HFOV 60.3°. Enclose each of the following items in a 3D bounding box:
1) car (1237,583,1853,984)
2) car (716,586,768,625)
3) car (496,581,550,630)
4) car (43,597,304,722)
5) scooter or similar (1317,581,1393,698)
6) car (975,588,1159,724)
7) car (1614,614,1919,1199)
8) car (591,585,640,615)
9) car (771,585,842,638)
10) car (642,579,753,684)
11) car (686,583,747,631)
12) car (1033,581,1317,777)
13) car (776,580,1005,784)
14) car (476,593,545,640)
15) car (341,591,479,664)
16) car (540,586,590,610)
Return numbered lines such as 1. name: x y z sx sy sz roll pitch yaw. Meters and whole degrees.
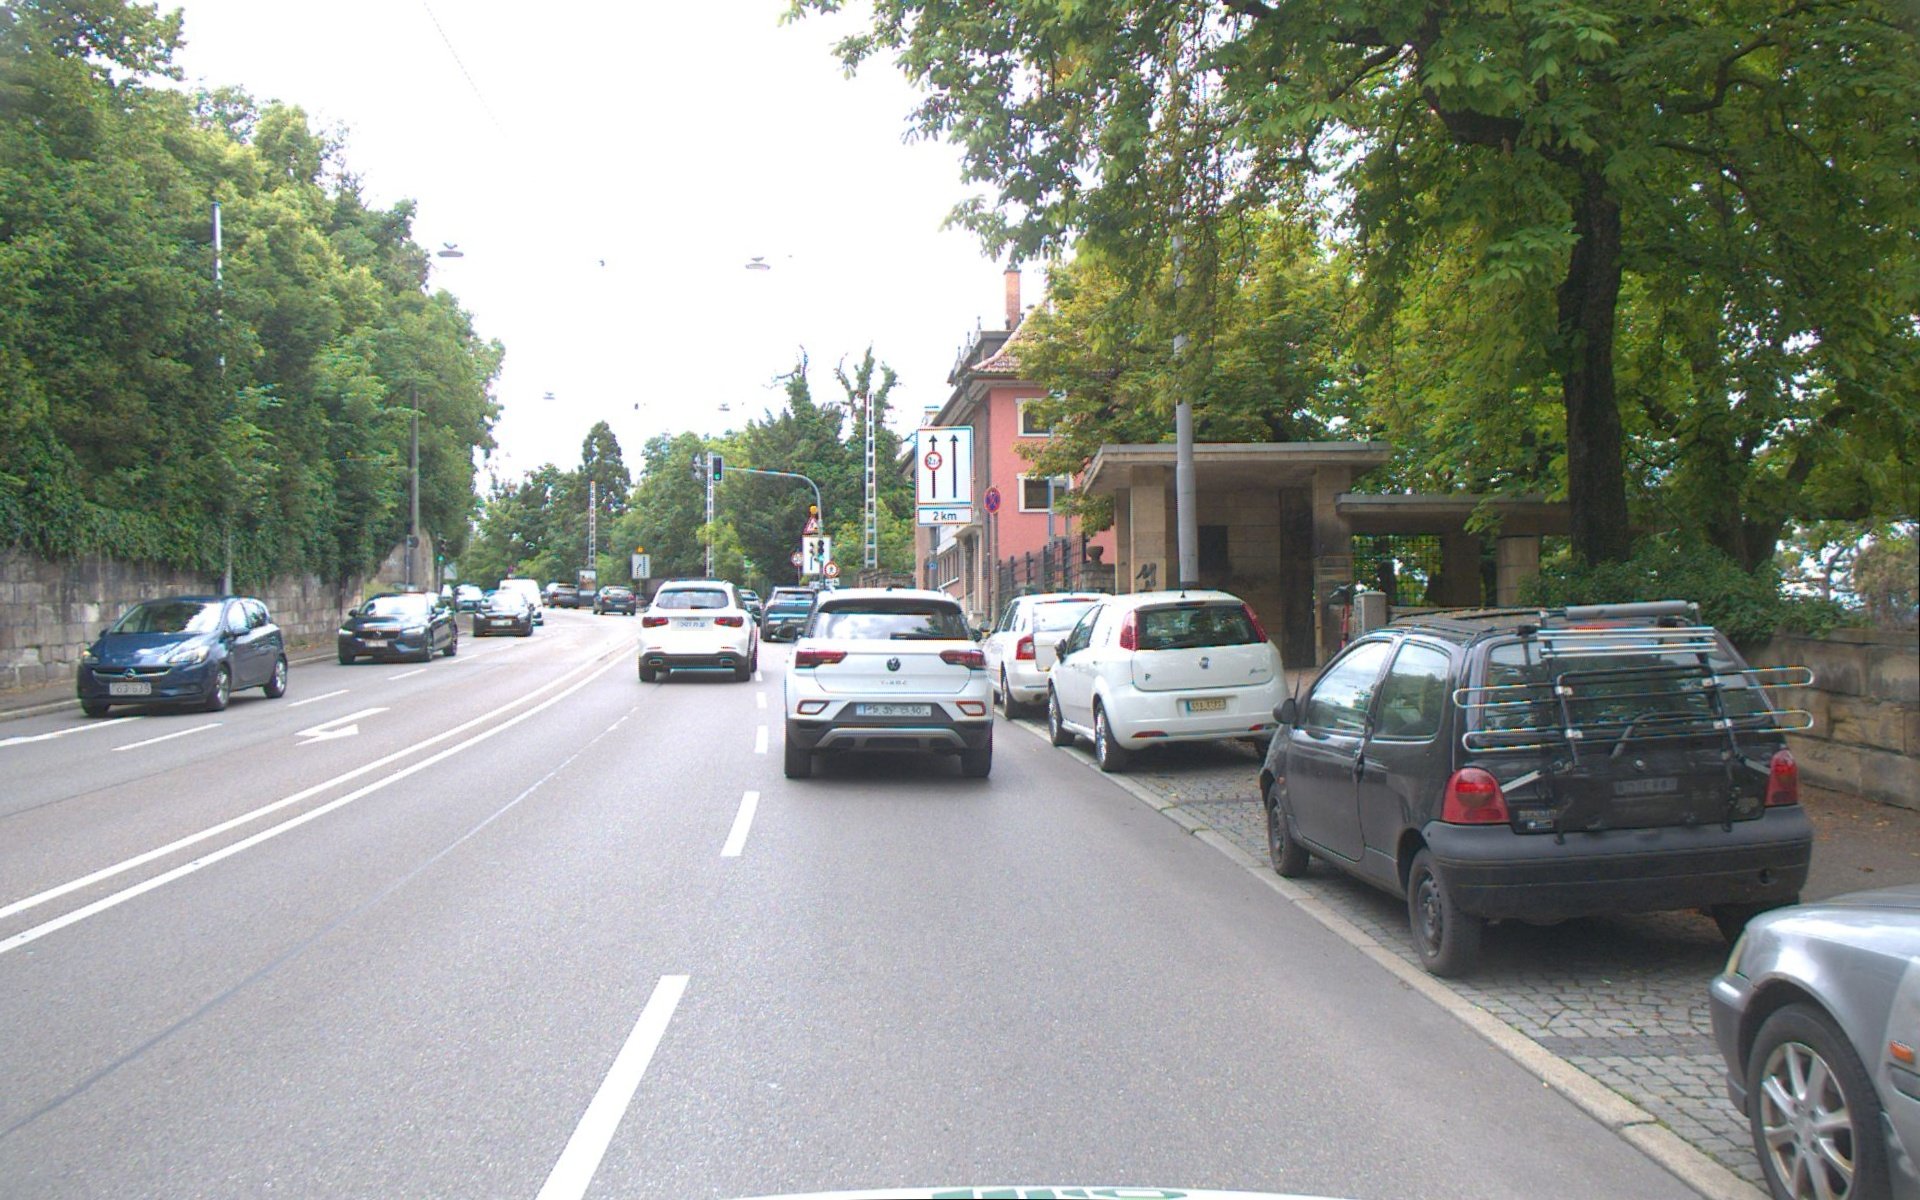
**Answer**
1. car: 2.555 0.704 8.089 1.531 1.447 3.421 -3 0 -4
2. car: -8.679 0.234 66.169 1.955 1.475 4.145 0 -1 -6
3. car: -17.599 0.255 66.762 1.859 1.881 4.383 0 -2 -12
4. car: -10.338 0.717 22.083 1.806 1.461 3.996 -1 0 -5
5. scooter or similar: 4.559 0.439 19.137 0.506 1.282 1.168 -3 0 -2
6. car: 1.251 0.629 21.089 1.643 1.486 4.361 -2 0 -5
7. car: 2.891 0.740 2.607 1.734 1.423 4.549 -2 0 -2
8. car: -17.744 0.006 85.125 1.756 1.480 3.972 1 0 -23
9. car: -4.389 0.348 47.812 1.954 1.439 4.147 -1 -1 -4
10. car: -4.463 0.527 28.480 1.724 1.638 3.789 1 -1 -7
11. car: -8.563 0.221 58.469 1.955 1.583 4.145 1 0 -6
12. car: 1.874 0.626 15.662 1.682 1.497 4.033 -4 1 -6
13. car: -0.749 0.670 14.963 1.724 1.583 3.789 1 -1 -7
14. car: -14.477 0.510 53.466 1.532 1.426 4.247 -2 0 -7
15. car: -11.773 0.555 35.677 1.807 1.434 4.451 -1 0 -5
16. car: -26.781 -0.099 112.063 1.978 1.603 4.098 0 -1 -36
